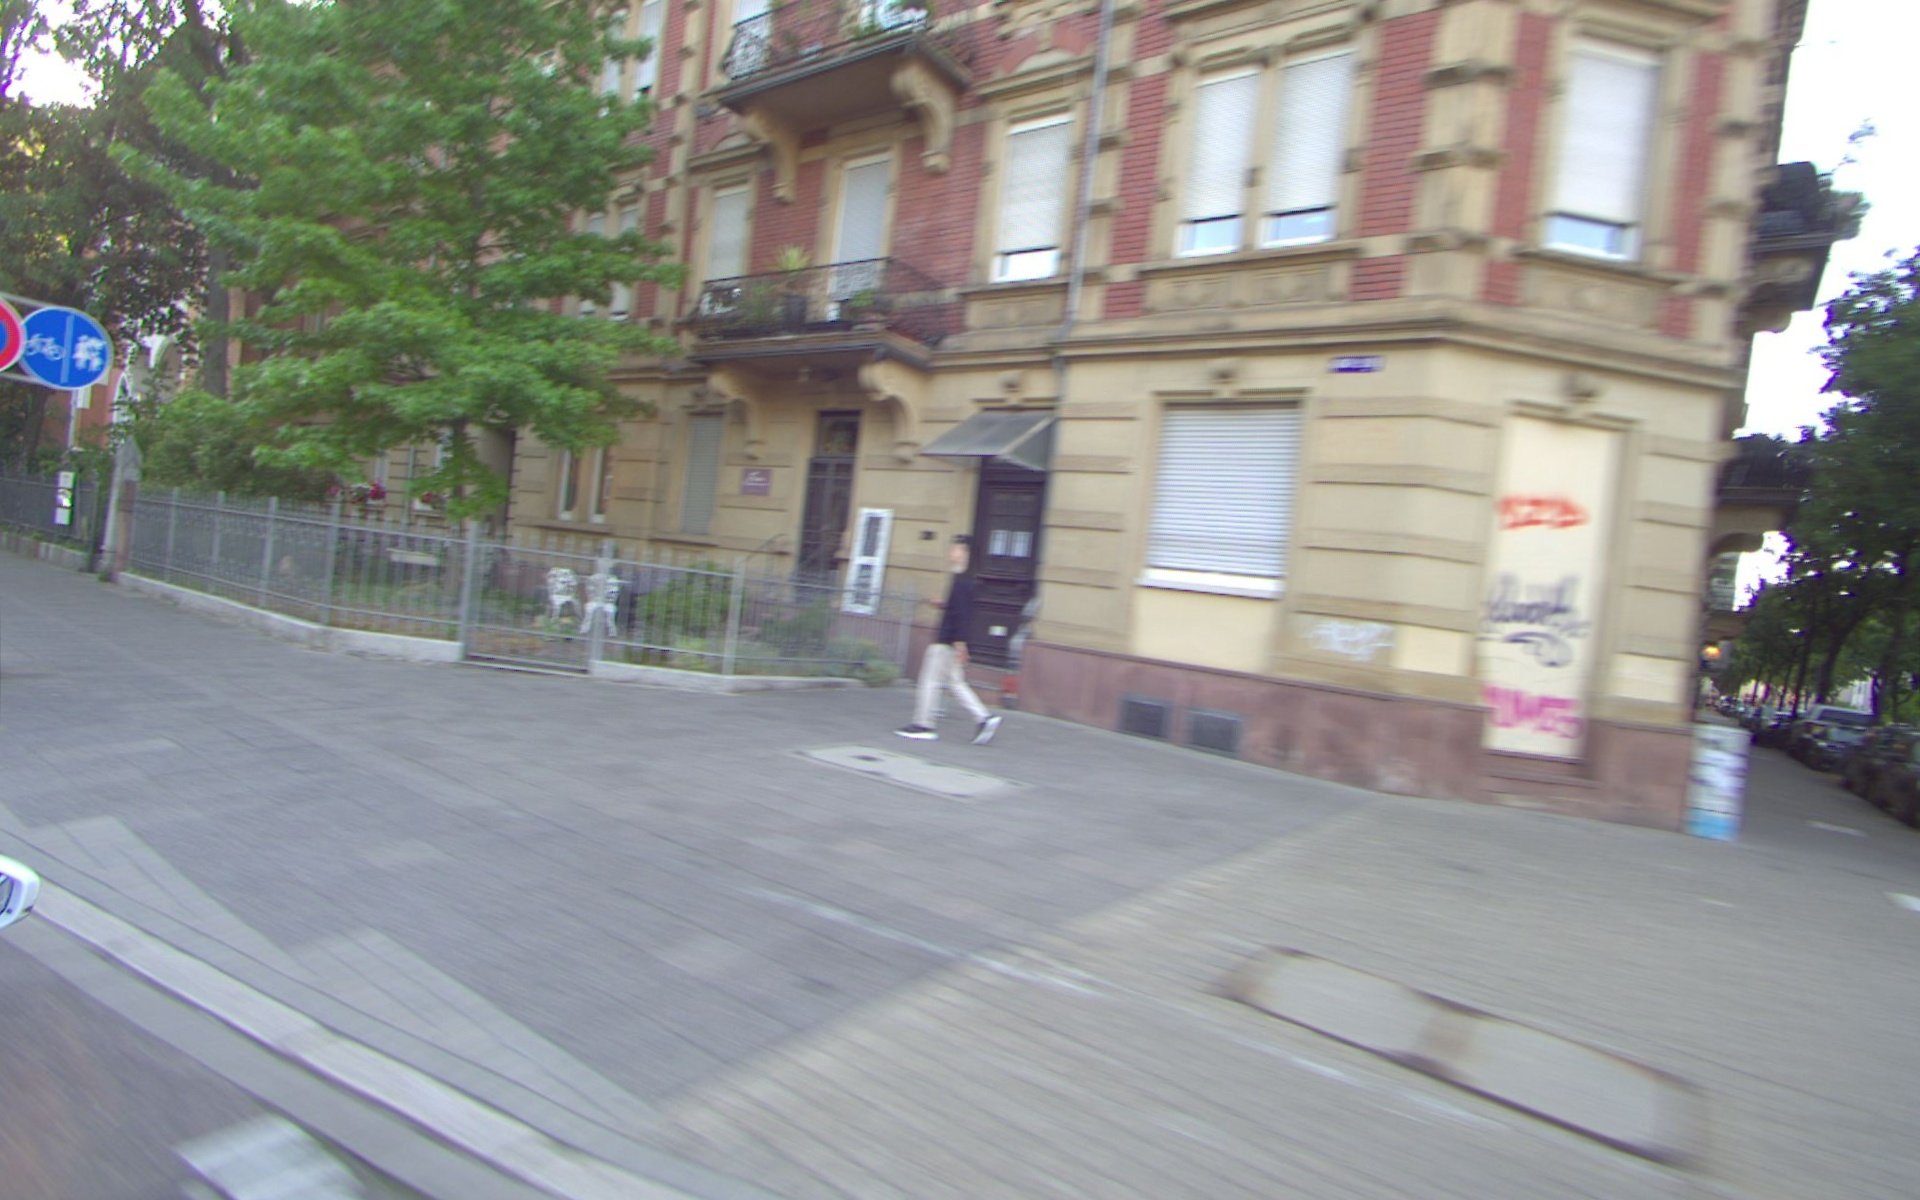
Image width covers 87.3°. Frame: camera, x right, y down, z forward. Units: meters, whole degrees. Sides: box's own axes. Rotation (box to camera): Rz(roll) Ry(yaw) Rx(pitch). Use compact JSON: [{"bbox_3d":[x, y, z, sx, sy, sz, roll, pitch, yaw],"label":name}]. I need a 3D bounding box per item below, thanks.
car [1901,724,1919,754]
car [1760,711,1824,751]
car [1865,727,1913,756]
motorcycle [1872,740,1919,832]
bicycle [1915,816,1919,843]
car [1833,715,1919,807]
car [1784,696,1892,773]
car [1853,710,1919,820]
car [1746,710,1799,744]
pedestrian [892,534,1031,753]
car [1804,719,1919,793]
[{"bbox_3d":[53.327,7.744,55.255,1.820,1.499,3.987,7,0,37],"label":"car"},{"bbox_3d":[37.054,5.804,44.878,1.820,1.374,3.987,7,0,37],"label":"car"},{"bbox_3d":[62.497,9.490,67.718,1.820,1.499,3.987,7,0,37],"label":"car"},{"bbox_3d":[13.495,2.647,13.089,0.880,1.135,2.183,10,0,-39],"label":"motorcycle"},{"bbox_3d":[12.214,2.631,11.700,1.473,0.827,0.295,11,1,33],"label":"bicycle"},{"bbox_3d":[18.558,3.154,19.569,1.885,1.475,3.988,7,0,36],"label":"car"},{"bbox_3d":[26.543,4.005,30.543,1.951,1.892,3.987,7,0,37],"label":"car"},{"bbox_3d":[15.767,2.716,15.802,1.968,1.527,3.988,11,2,36],"label":"car"},{"bbox_3d":[42.640,6.640,52.851,1.820,1.435,3.987,7,0,37],"label":"car"},{"bbox_3d":[0.016,0.362,8.984,0.818,1.803,0.745,7,4,33],"label":"pedestrian"},{"bbox_3d":[23.410,3.977,26.106,1.885,1.410,3.988,7,0,36],"label":"car"}]
